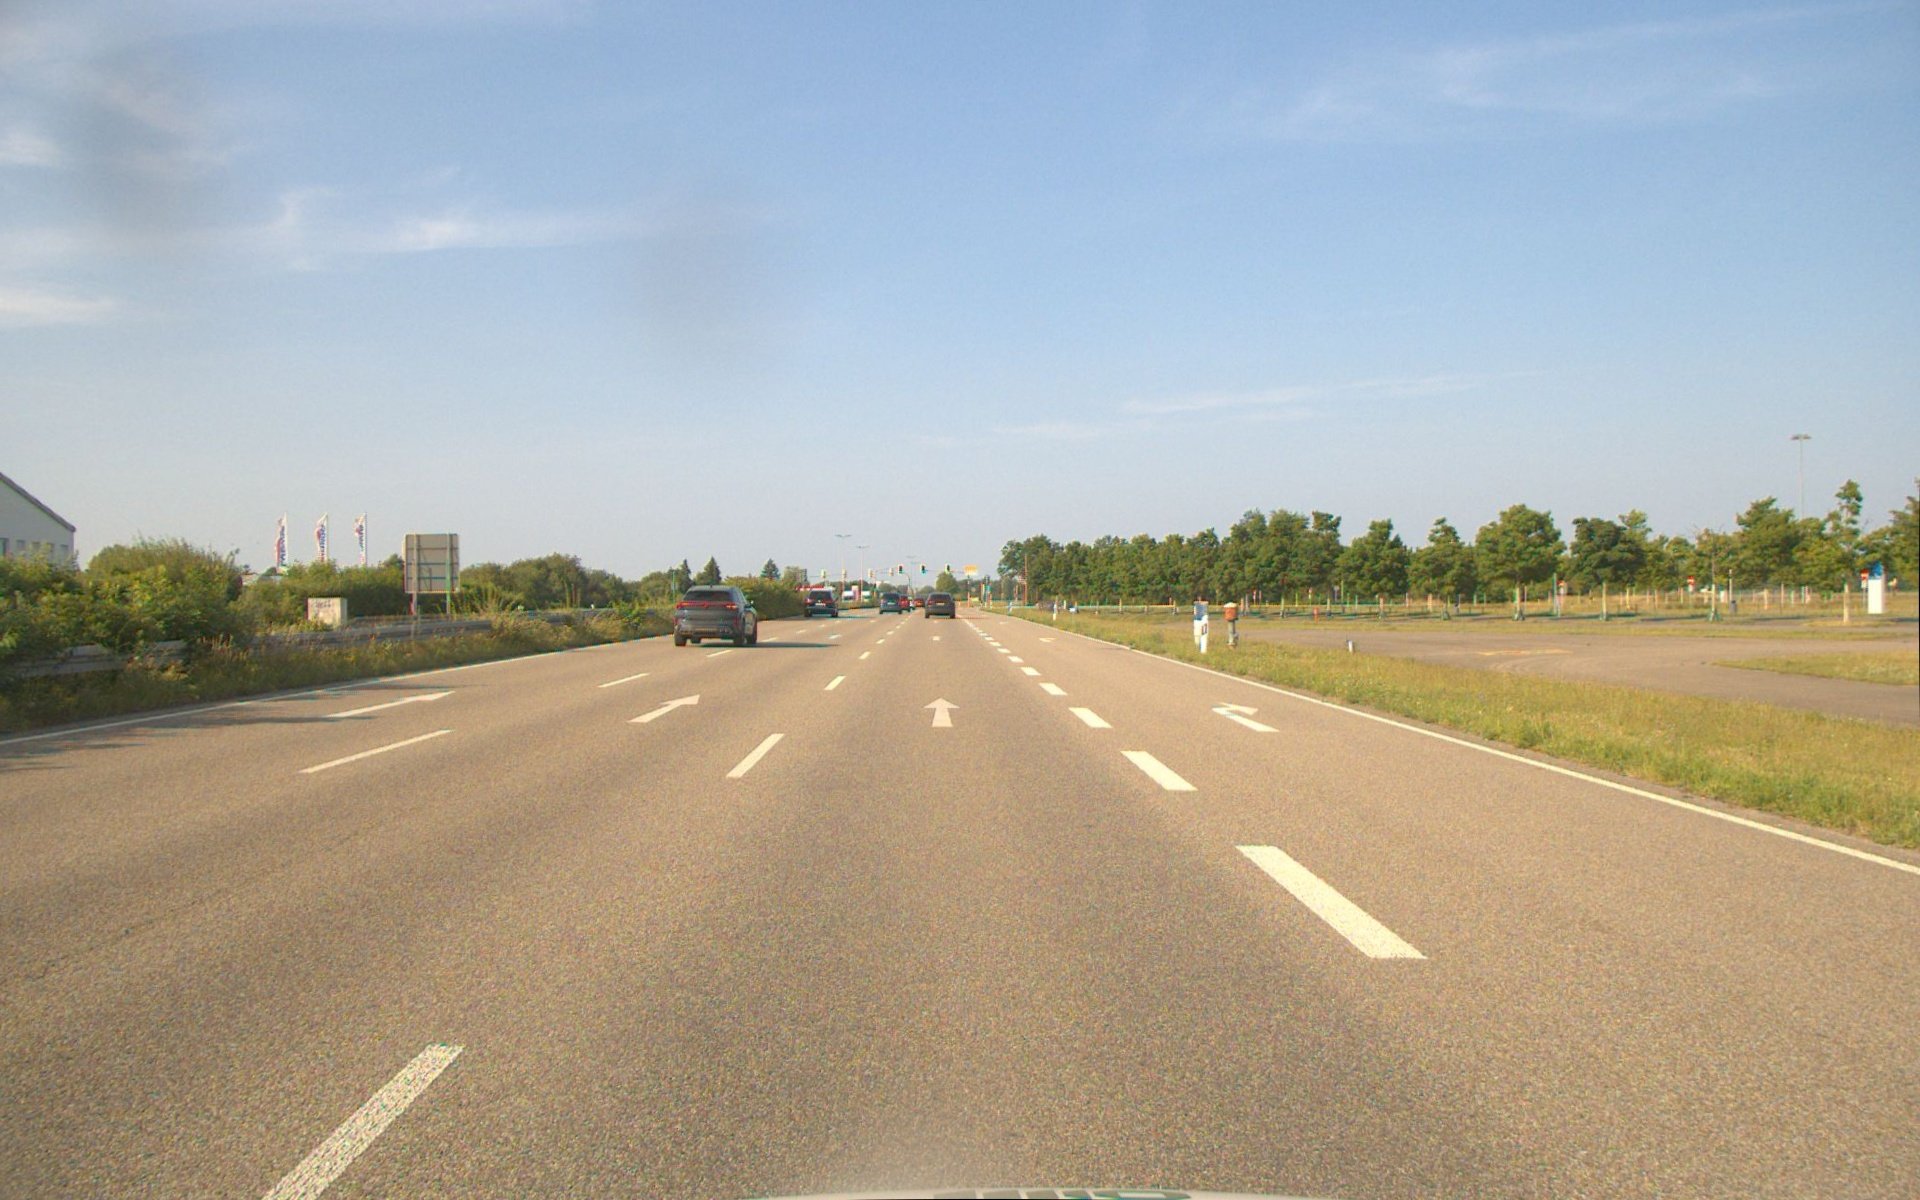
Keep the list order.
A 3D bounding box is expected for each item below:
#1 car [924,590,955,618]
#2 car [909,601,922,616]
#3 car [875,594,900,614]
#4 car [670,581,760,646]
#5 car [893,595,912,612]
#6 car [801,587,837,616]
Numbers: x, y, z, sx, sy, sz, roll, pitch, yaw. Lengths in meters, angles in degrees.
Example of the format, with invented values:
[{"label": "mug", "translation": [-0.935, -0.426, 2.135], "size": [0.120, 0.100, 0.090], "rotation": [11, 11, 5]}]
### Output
[{"label": "car", "translation": [-1.356, 0.243, 106.048], "size": [1.893, 1.709, 4.400], "rotation": [2, 0, -1]}, {"label": "car", "translation": [-5.433, 1.082, 201.205], "size": [1.612, 1.758, 3.400], "rotation": [1, -1, -2]}, {"label": "car", "translation": [-5.651, 0.270, 129.805], "size": [1.776, 1.489, 4.400], "rotation": [2, 0, -1]}, {"label": "car", "translation": [-6.588, 0.342, 44.836], "size": [1.808, 1.640, 4.400], "rotation": [2, 0, -1]}, {"label": "car", "translation": [-5.392, 0.334, 155.428], "size": [1.614, 1.489, 3.980], "rotation": [2, 0, -1]}, {"label": "car", "translation": [-8.800, 0.072, 103.467], "size": [1.893, 1.709, 4.400], "rotation": [2, 0, -1]}]
